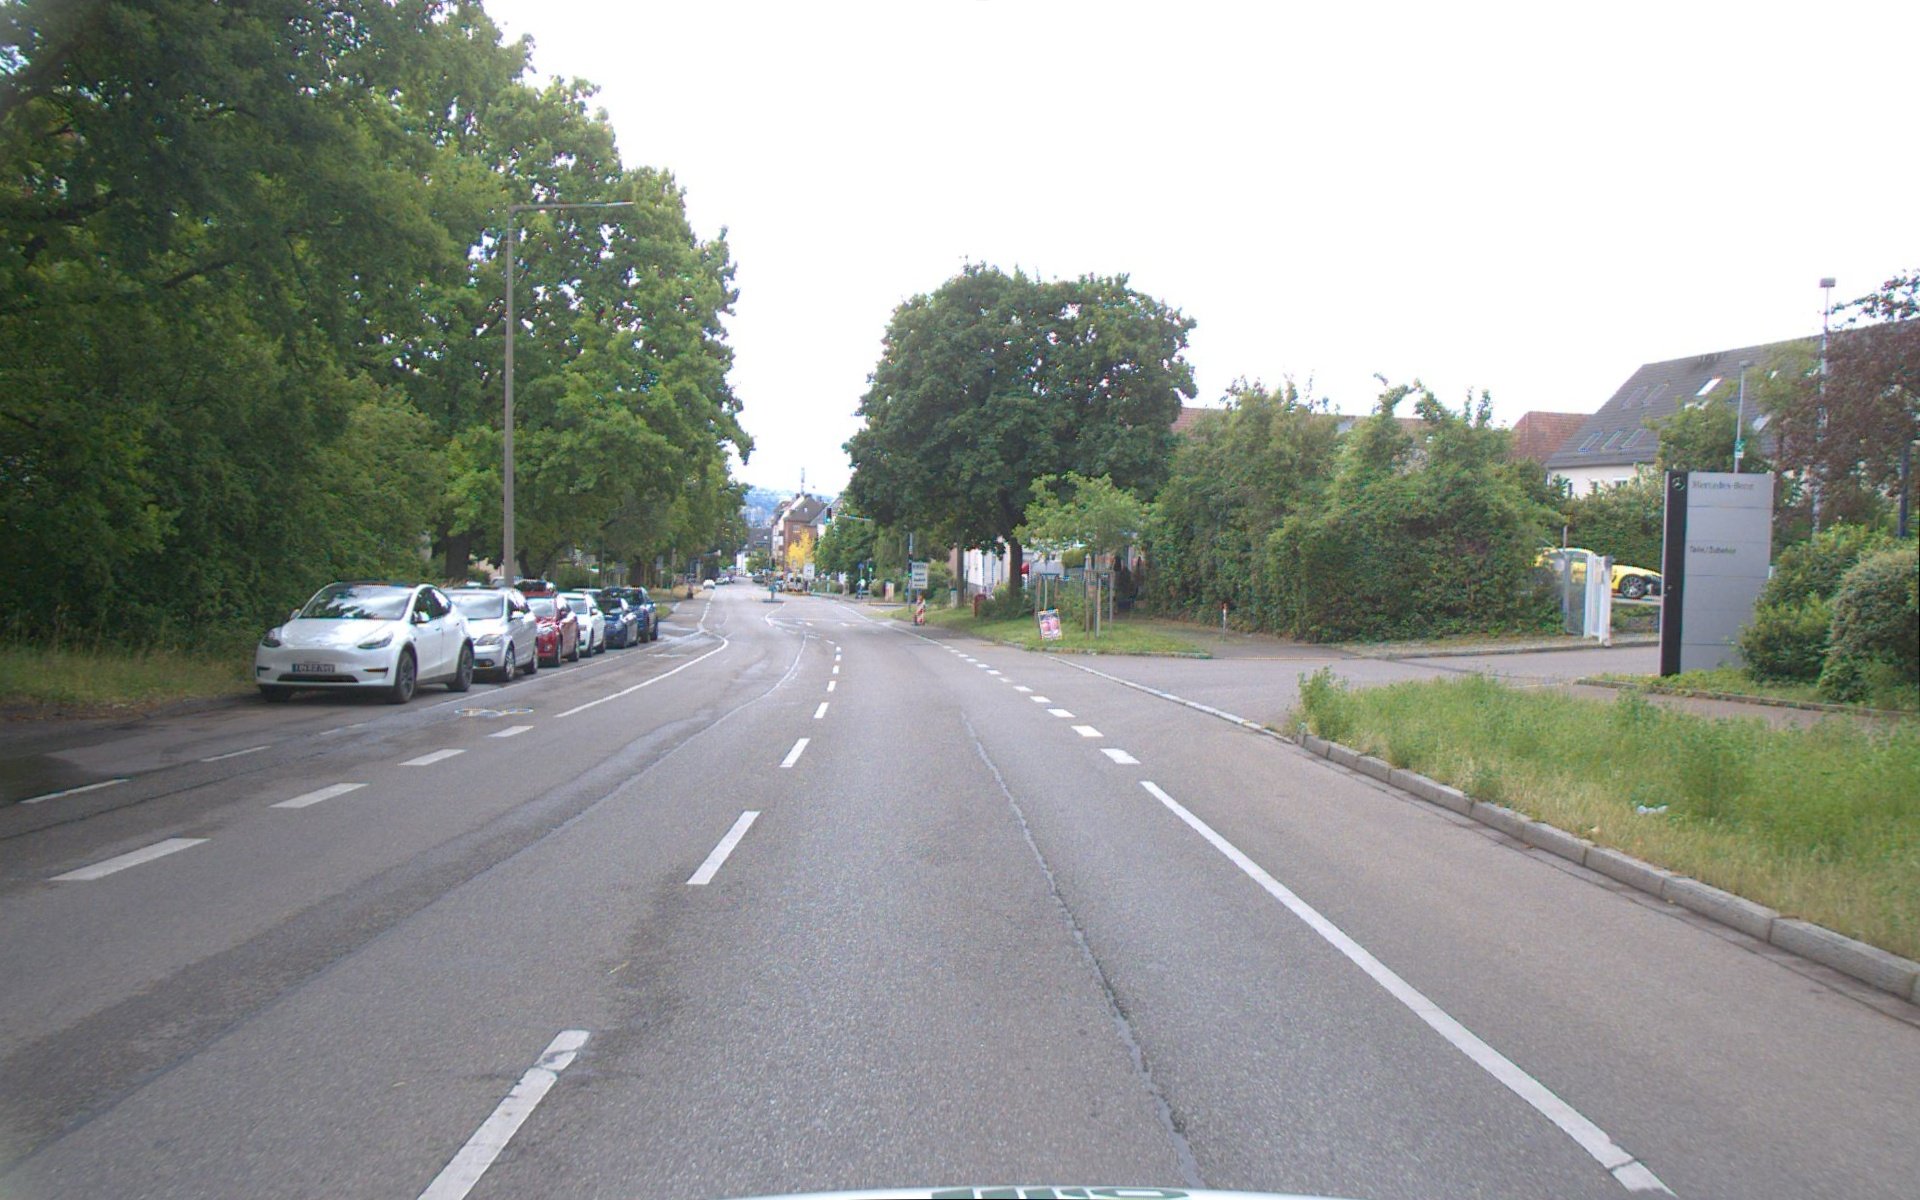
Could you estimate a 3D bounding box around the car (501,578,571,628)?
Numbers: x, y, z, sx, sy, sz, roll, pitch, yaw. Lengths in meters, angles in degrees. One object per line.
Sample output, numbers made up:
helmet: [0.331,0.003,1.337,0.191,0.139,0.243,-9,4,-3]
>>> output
car: [-15.656,0.113,61.191,1.727,1.661,3.996,4,0,-4]

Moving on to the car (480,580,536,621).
car: [-19.766,0.012,72.470,1.728,1.662,4.281,2,0,-7]

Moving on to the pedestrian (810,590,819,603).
pedestrian: [-20.011,-0.472,227.708,1.177,1.842,1.299,2,0,-7]

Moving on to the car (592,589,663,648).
car: [-10.288,0.529,51.403,1.682,1.641,4.530,1,1,-6]

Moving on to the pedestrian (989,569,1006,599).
pedestrian: [2.388,-1.036,105.028,0.737,1.887,0.948,-2,1,-22]

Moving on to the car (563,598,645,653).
car: [-9.749,0.661,45.506,1.682,1.413,4.333,1,0,-6]

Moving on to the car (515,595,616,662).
car: [-9.418,0.657,39.800,1.682,1.485,4.751,1,0,-6]

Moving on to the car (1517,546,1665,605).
car: [19.301,-0.762,50.595,3.915,1.680,1.995,2,0,32]

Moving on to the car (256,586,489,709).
car: [-8.293,0.629,23.821,1.731,1.600,4.758,0,0,-1]

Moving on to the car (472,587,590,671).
car: [-8.923,0.578,34.713,1.682,1.600,4.365,1,0,-6]

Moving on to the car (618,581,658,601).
car: [-28.750,-0.781,147.716,3.386,1.624,1.996,2,0,-10]

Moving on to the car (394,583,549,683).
car: [-8.516,0.558,29.175,1.832,1.600,4.115,1,0,-6]

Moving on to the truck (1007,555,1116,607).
truck: [7.034,-1.298,114.549,7.099,3.365,2.533,1,0,-12]
